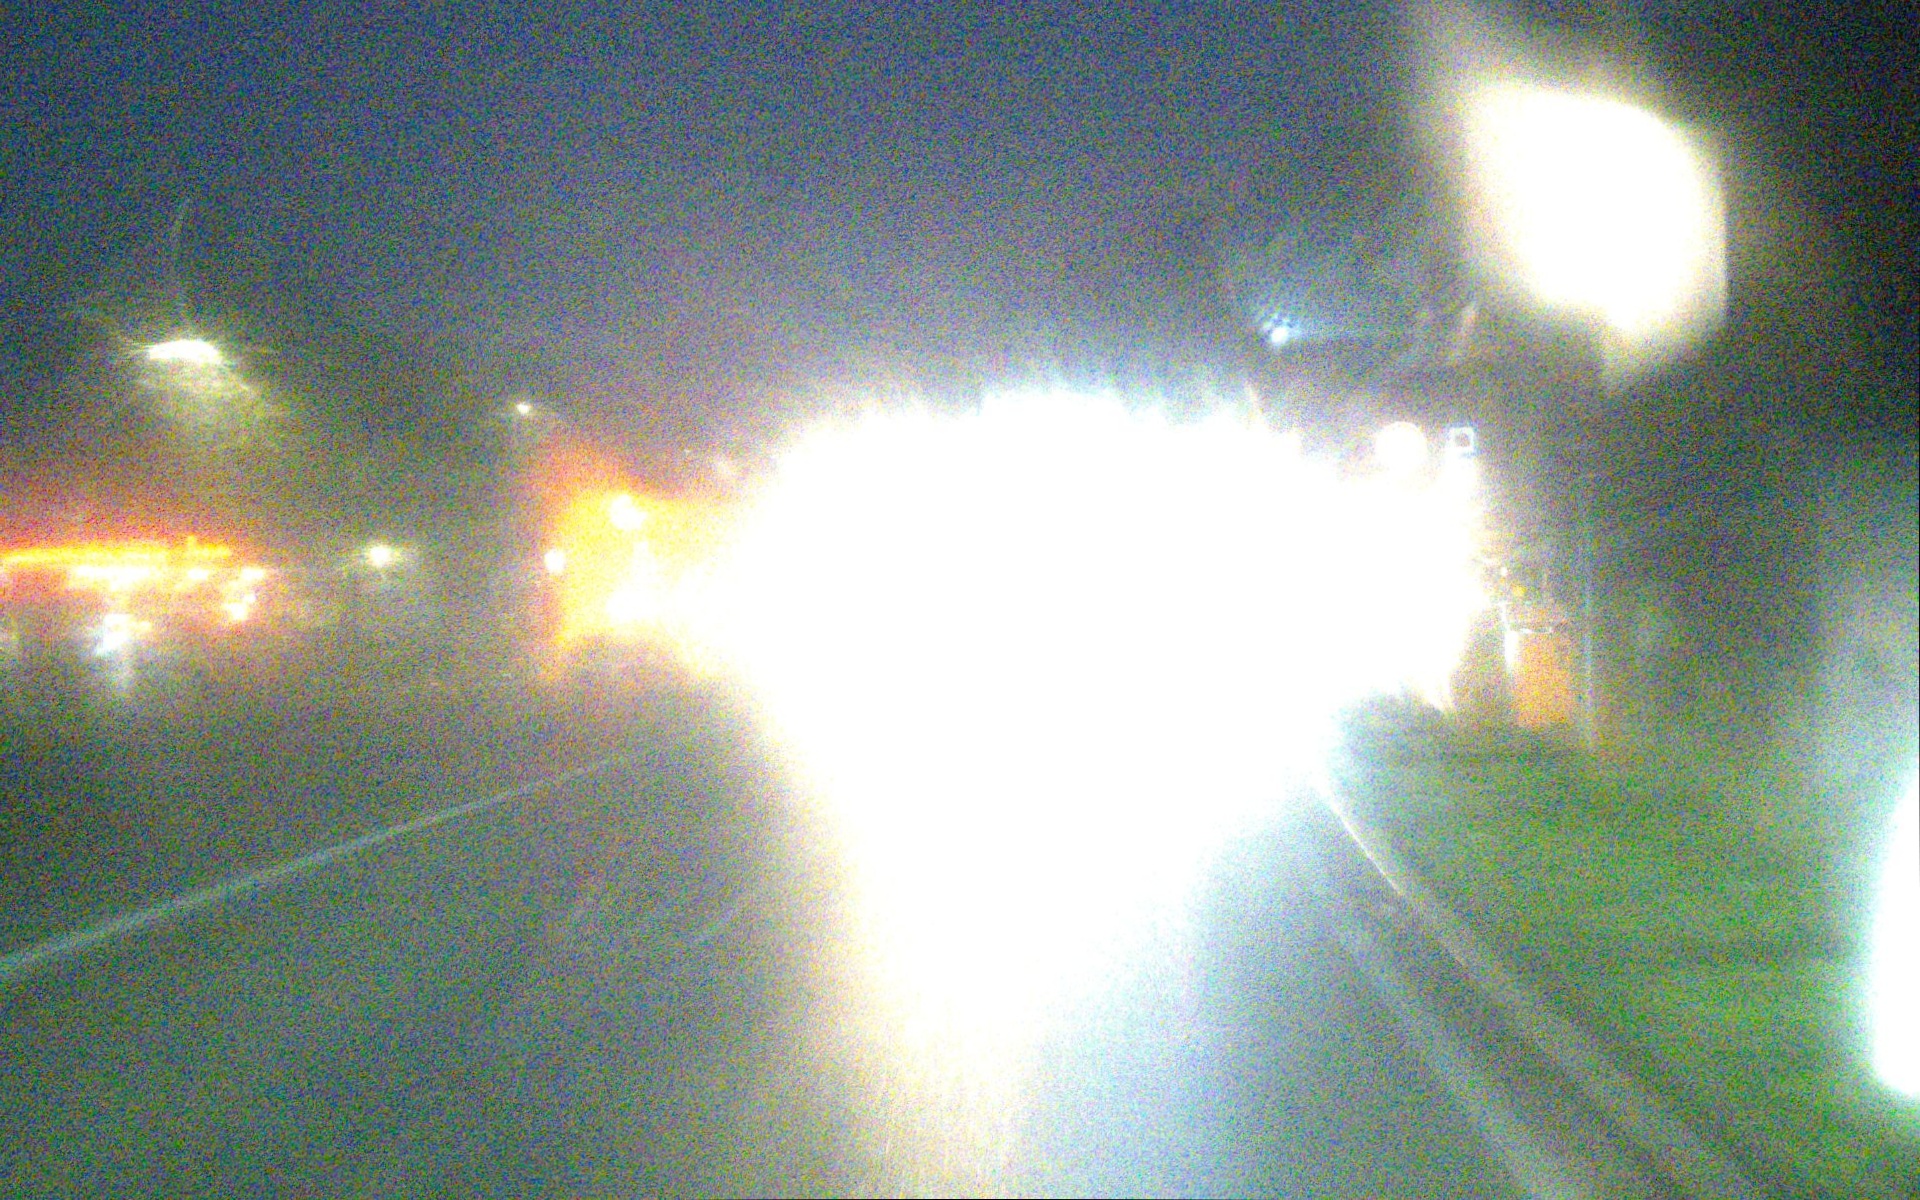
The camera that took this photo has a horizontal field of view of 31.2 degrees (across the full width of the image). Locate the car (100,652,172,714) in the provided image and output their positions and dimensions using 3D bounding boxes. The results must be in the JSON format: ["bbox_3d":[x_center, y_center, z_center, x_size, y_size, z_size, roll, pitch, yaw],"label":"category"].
[{"bbox_3d":[-22.990,2.304,95.987,1.811,1.561,4.208,-4,0,-13],"label":"car"}]

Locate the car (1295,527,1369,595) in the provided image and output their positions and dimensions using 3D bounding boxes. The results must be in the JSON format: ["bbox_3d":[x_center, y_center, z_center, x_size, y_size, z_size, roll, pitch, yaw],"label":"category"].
[{"bbox_3d":[11.468,-1.229,105.643,1.892,1.996,4.879,2,1,10],"label":"car"}]

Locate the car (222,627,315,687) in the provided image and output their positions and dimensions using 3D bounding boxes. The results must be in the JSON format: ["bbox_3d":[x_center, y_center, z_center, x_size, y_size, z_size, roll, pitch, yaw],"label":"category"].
[{"bbox_3d":[-20.748,1.702,103.252,1.746,1.612,3.512,-4,0,5],"label":"car"}]

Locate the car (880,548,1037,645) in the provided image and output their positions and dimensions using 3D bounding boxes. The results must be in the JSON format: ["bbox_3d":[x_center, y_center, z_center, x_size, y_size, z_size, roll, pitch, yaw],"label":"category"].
[{"bbox_3d":[0.018,-0.083,50.594,1.635,1.350,4.141,0,1,10],"label":"car"}]
